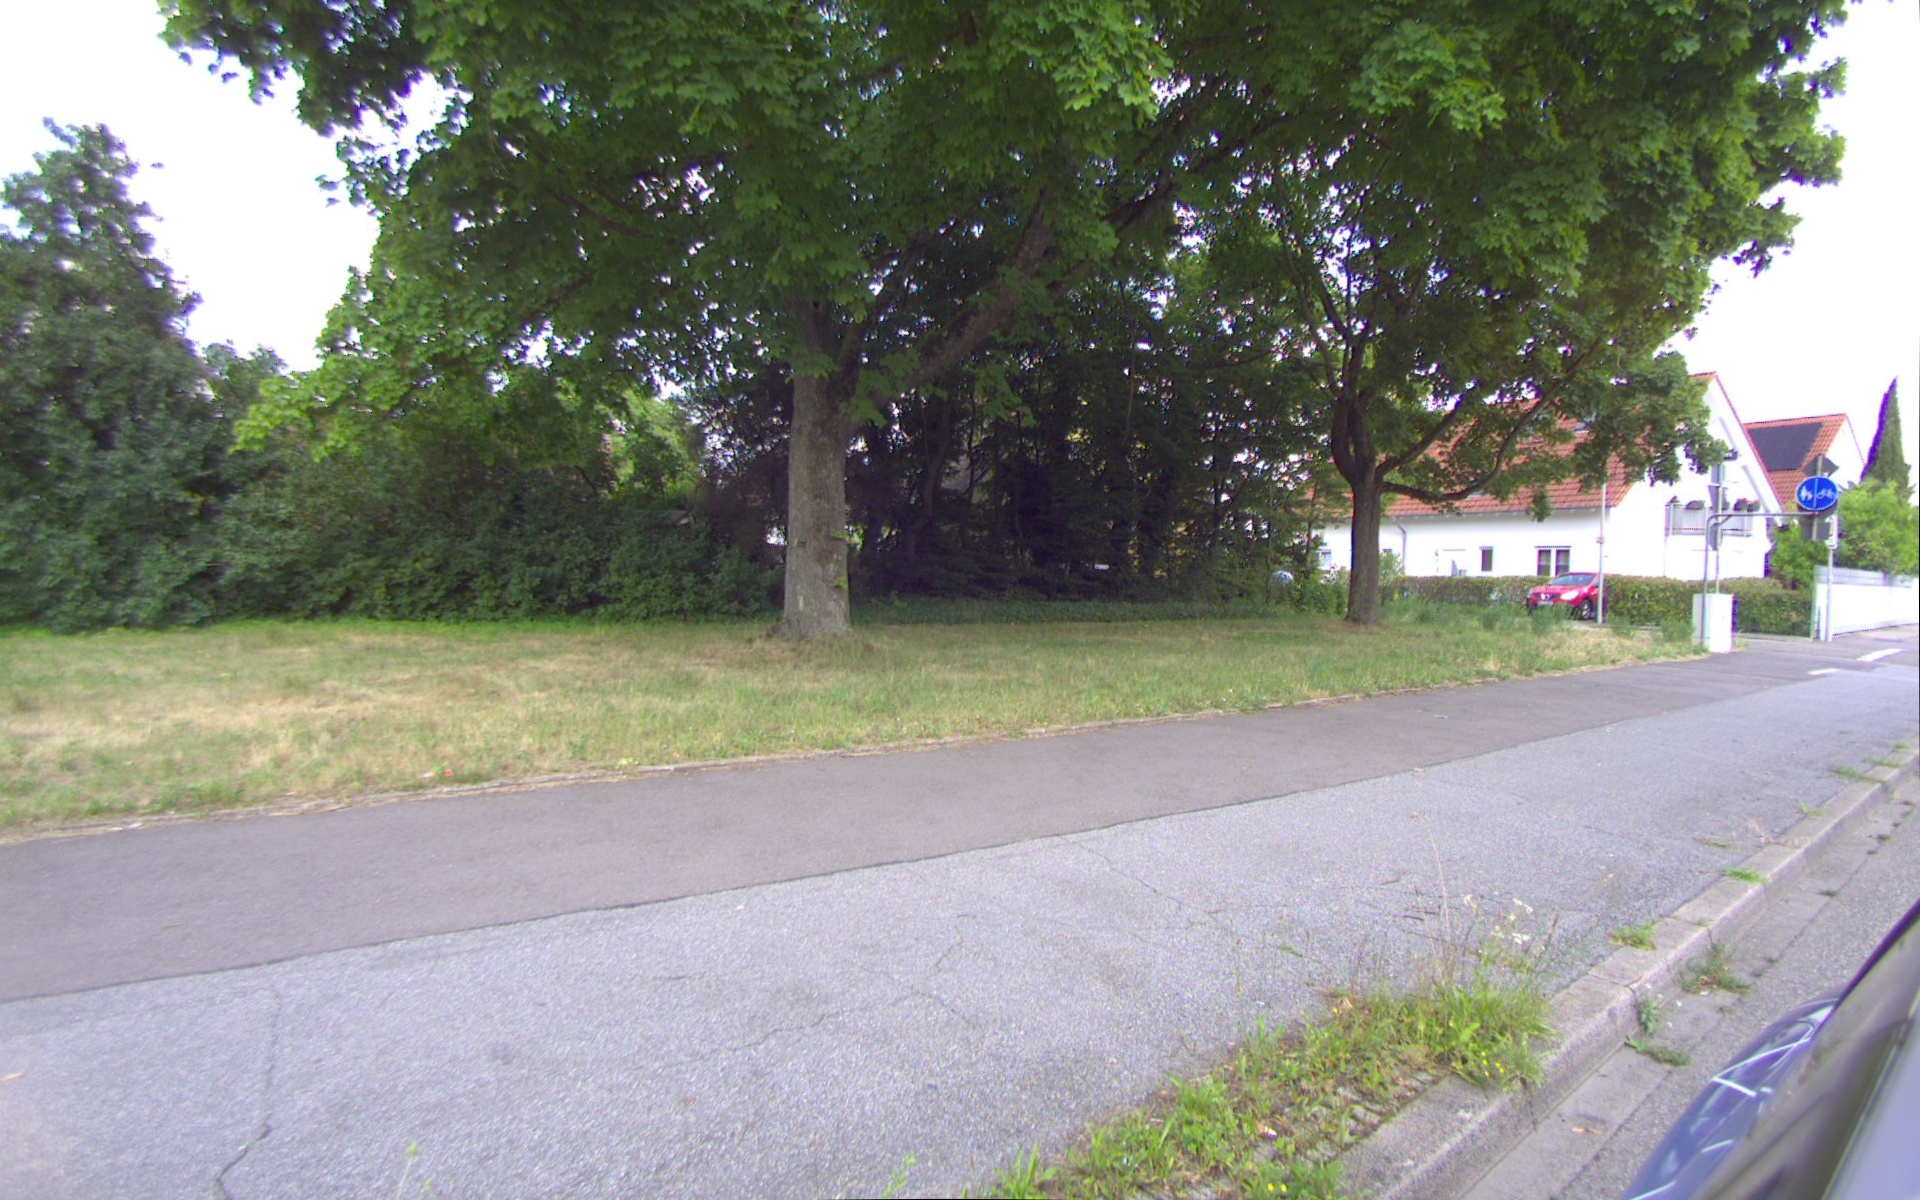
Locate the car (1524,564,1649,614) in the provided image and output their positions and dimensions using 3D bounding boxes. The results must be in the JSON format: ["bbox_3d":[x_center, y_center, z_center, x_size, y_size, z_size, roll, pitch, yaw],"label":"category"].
[{"bbox_3d":[20.904,-0.356,33.750,4.305,1.549,1.684,0,2,-30],"label":"car"}]
